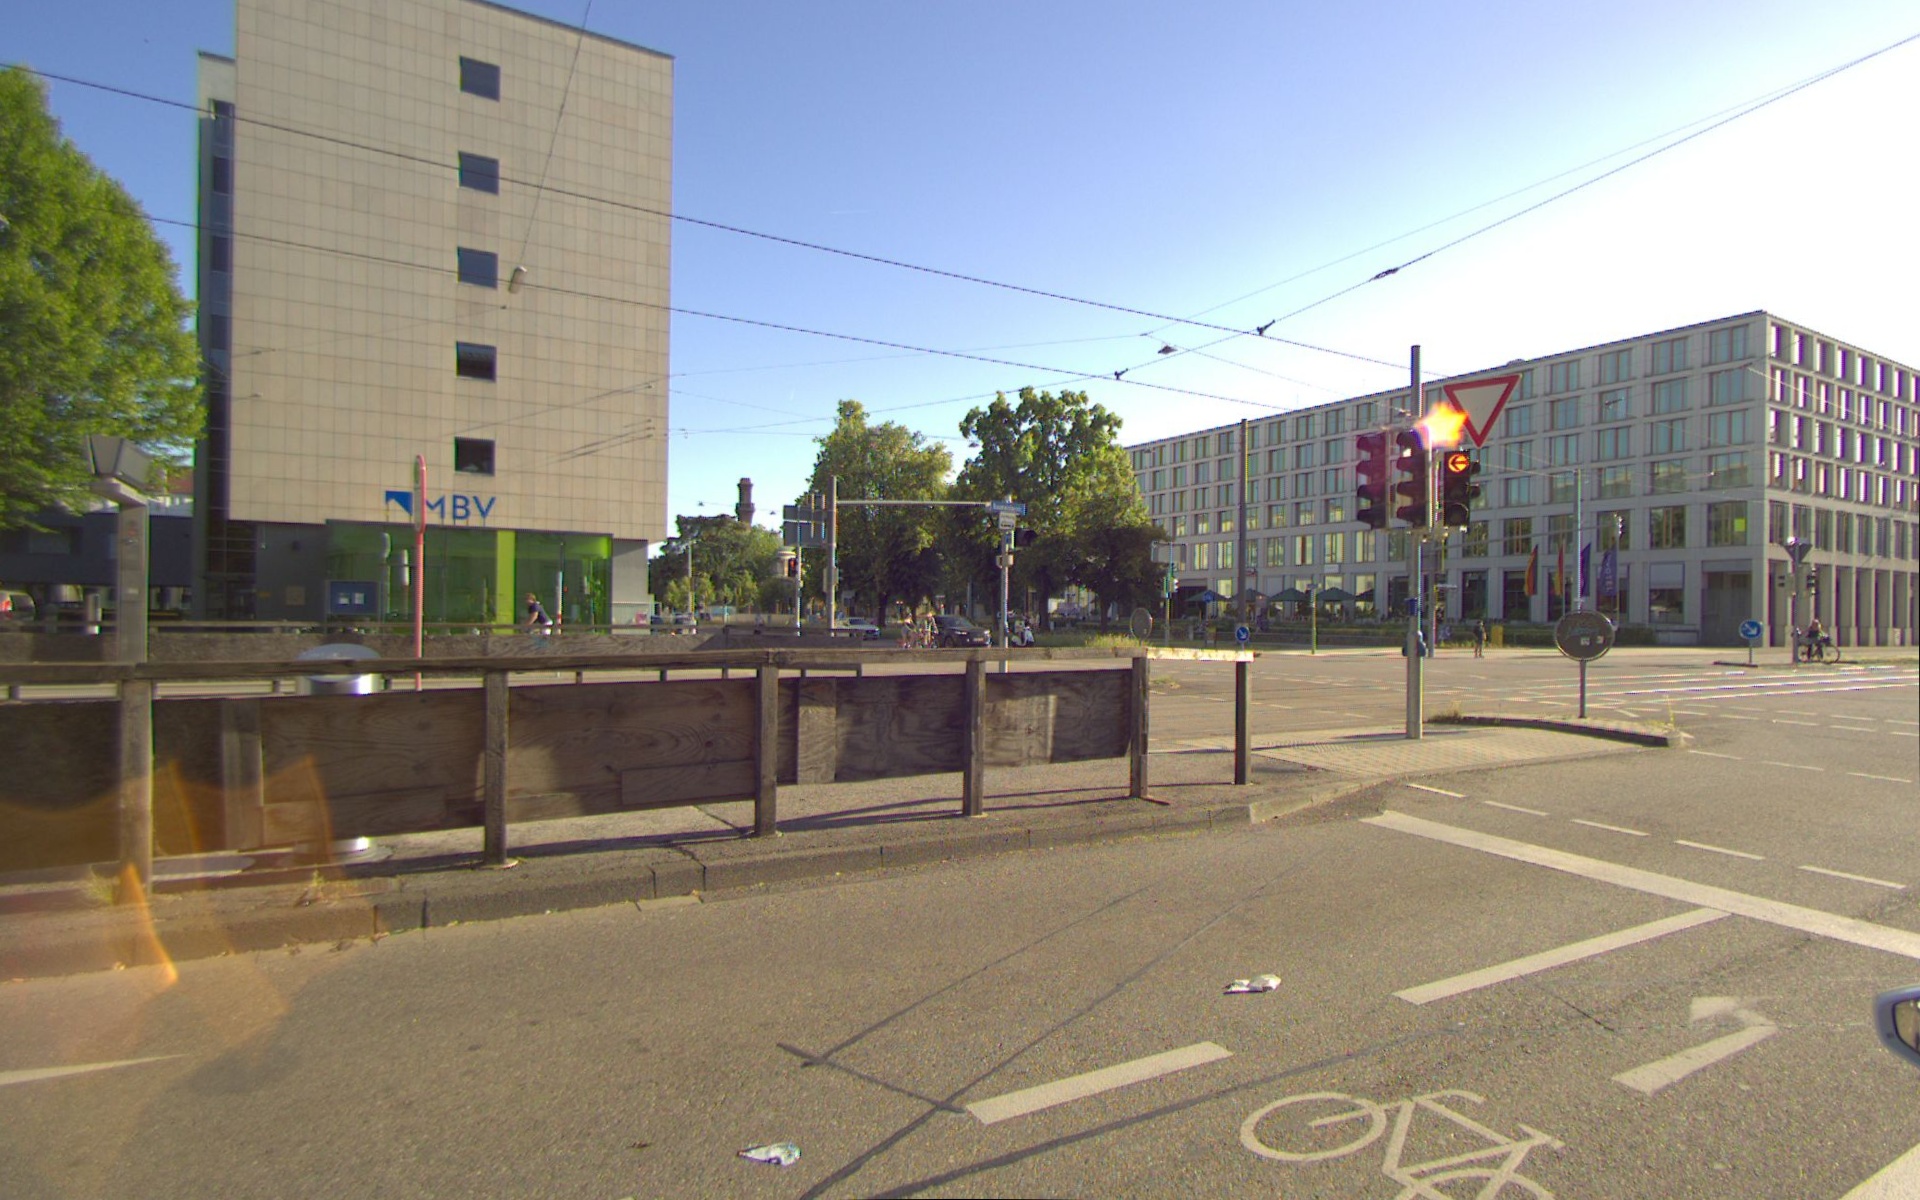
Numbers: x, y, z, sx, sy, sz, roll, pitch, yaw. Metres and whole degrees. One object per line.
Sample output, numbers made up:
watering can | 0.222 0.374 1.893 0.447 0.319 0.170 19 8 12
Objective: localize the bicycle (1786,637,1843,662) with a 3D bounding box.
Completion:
bicycle | 30.902 1.784 36.368 0.562 0.834 1.718 1 -1 -2

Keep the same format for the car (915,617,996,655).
car | -0.249 1.580 44.608 1.925 1.561 3.969 2 -2 -29

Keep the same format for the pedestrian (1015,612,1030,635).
pedestrian | 4.958 1.877 79.830 0.858 1.738 0.737 2 0 -26

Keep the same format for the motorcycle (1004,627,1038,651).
motorcycle | 2.849 1.821 46.951 0.624 1.030 1.972 -3 1 -28

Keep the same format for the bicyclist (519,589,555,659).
bicyclist | -11.029 0.629 26.186 0.762 1.784 0.532 1 -1 -30

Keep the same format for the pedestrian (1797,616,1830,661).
pedestrian | 30.906 1.389 36.364 0.562 1.616 0.744 1 -1 -3

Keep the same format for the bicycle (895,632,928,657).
bicycle | -2.036 1.846 42.015 0.577 1.032 1.806 1 -3 -31

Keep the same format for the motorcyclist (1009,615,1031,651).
motorcyclist | 2.809 1.539 46.982 0.624 1.601 0.812 -3 1 -28

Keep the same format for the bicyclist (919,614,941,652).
bicyclist | -1.271 1.396 42.412 0.576 1.563 0.890 1 -1 -27

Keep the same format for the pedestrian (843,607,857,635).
pedestrian | -8.153 1.561 74.132 0.772 2.040 0.747 1 -1 -31

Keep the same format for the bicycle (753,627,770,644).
bicycle | -11.848 2.108 59.927 0.576 1.032 1.666 1 -1 -27

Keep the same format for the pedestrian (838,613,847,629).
pedestrian | -13.336 2.402 113.921 0.615 1.829 0.769 2 0 39

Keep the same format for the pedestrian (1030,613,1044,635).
pedestrian | 6.147 1.915 80.280 0.858 1.738 0.737 2 0 -26

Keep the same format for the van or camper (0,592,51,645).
van or camper | -27.886 0.428 27.560 3.954 1.425 1.954 4 -3 -30

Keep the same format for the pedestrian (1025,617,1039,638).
pedestrian | 5.881 2.243 82.539 0.858 1.738 0.737 2 0 -26

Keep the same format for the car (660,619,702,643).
car | -19.462 2.161 70.054 1.975 1.472 4.179 2 0 -28

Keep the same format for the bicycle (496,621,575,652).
bicycle | -11.048 0.953 26.173 1.831 0.798 0.532 1 -1 -31

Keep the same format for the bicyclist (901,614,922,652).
bicyclist | -2.031 1.368 42.012 0.577 1.563 0.833 1 -2 -32

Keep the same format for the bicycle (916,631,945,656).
bicycle | -1.265 1.827 42.376 0.576 1.032 1.666 1 -1 -27

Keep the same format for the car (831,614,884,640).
car | -6.603 1.722 64.407 1.975 1.472 4.179 2 0 -28

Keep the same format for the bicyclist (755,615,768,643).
bicyclist | -11.851 1.726 59.949 0.576 1.658 0.890 1 -1 -27

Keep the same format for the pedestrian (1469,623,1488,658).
pedestrian | 25.128 1.960 48.688 0.597 1.703 0.602 1 -1 -22

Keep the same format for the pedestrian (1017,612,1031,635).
pedestrian | 5.163 1.888 80.787 0.858 1.738 0.737 2 0 -26
